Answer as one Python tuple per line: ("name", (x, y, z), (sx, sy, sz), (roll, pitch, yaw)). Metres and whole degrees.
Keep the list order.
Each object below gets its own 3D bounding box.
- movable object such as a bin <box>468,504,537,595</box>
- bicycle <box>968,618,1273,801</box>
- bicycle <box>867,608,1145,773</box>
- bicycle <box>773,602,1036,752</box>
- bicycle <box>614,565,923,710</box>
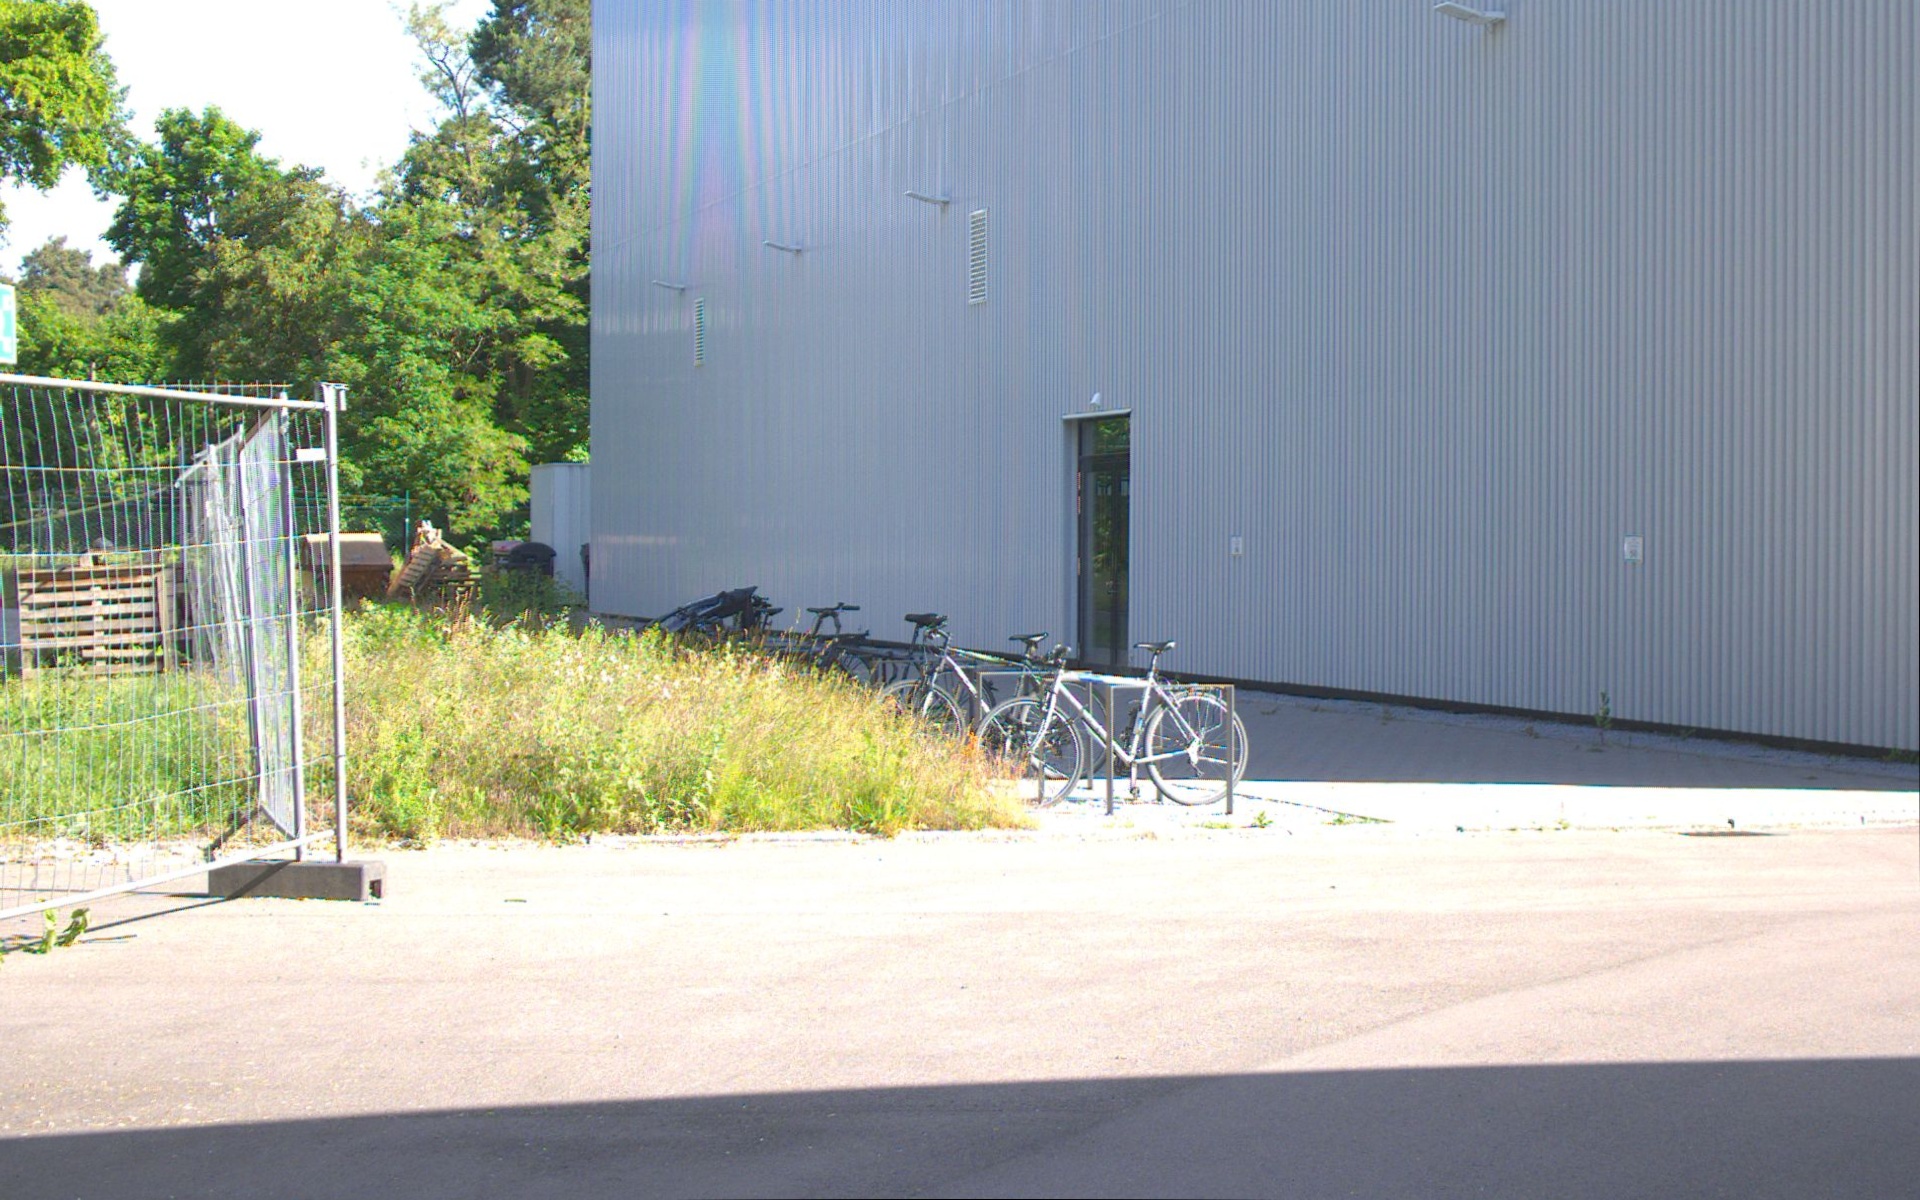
("movable object such as a bin", (-10.180, -1.132, 76.500), (1.418, 2.007, 1.125), (0, 1, -13))
("bicycle", (0.972, 0.647, 20.693), (1.799, 1.058, 0.459), (0, 1, -22))
("bicycle", (0.310, 0.602, 23.180), (1.791, 1.079, 0.525), (0, 1, -15))
("bicycle", (-0.414, 0.563, 25.628), (1.887, 1.091, 0.526), (0, 0, -18))
("bicycle", (-1.746, 0.327, 31.099), (2.629, 1.262, 1.141), (0, 1, -13))
